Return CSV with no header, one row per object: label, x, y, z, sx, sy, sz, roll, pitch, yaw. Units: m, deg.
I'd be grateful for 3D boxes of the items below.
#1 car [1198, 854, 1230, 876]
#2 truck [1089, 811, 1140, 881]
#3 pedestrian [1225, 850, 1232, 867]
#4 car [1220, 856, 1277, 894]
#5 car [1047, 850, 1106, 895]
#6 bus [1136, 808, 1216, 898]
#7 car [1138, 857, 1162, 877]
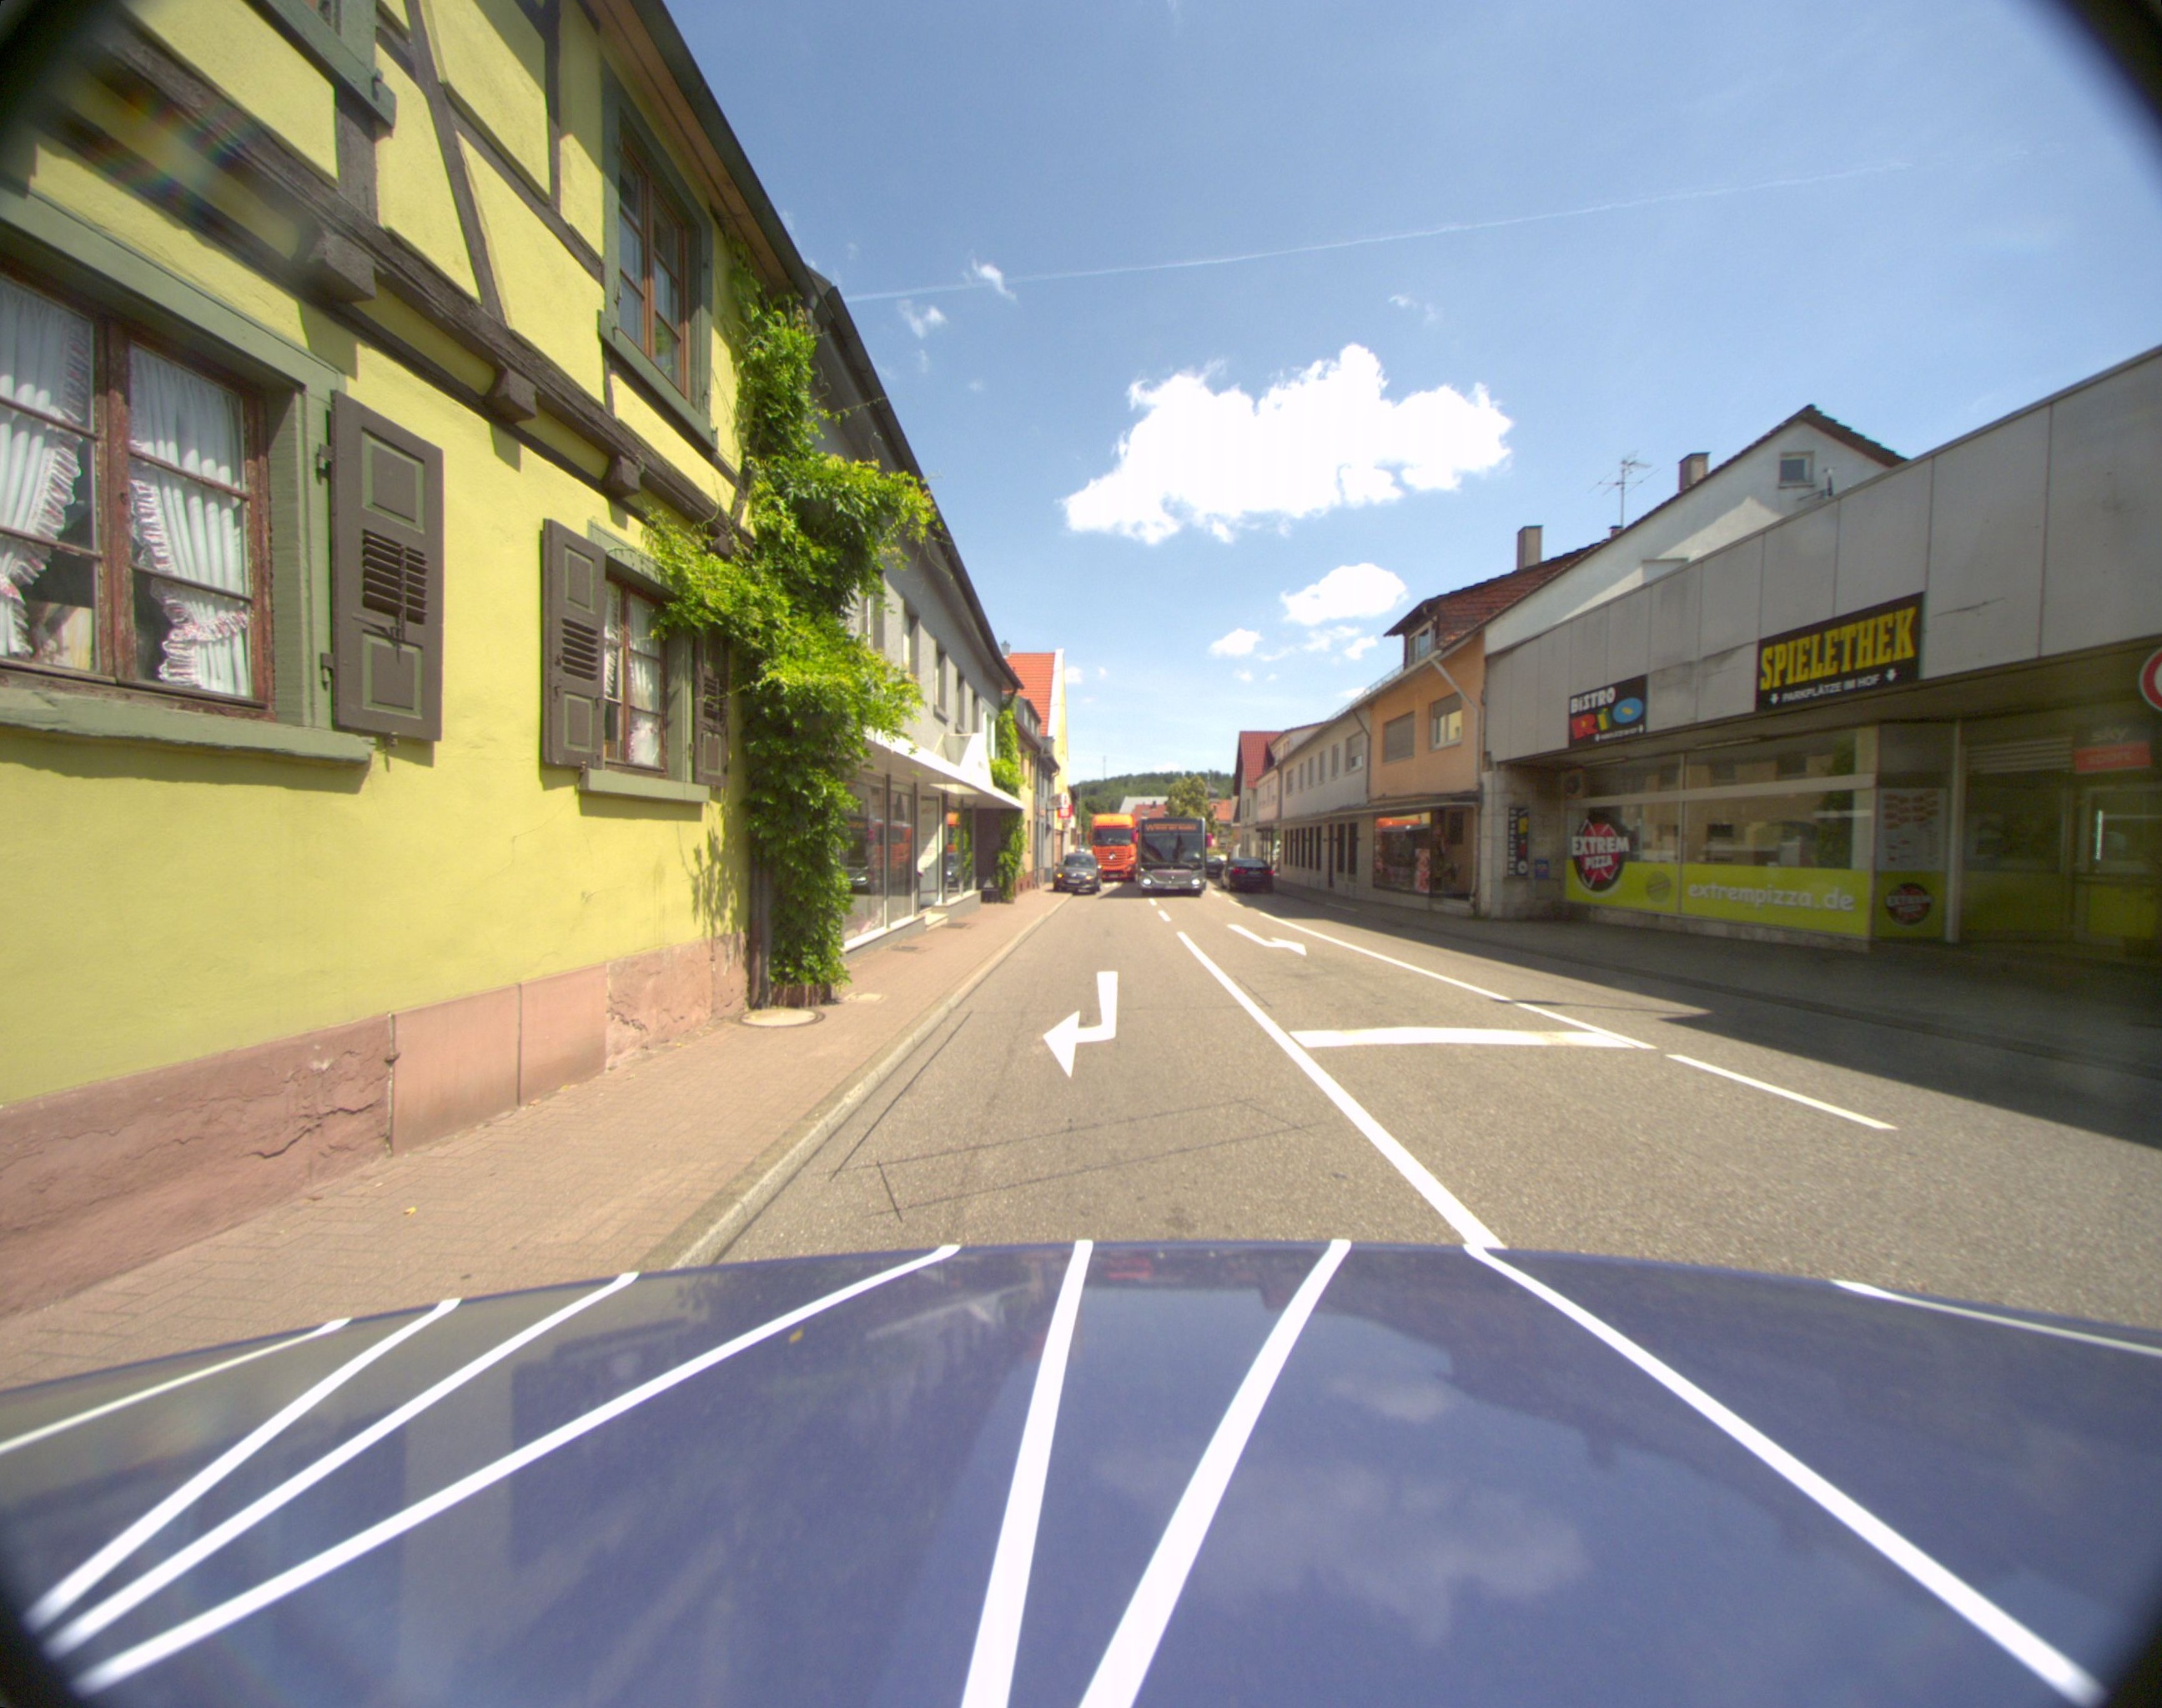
car,9.211,0.758,52.808,1.721,1.414,3.821,2,0,3
truck,2.296,-0.423,48.058,2.614,3.922,9.996,-2,0,5
pedestrian,15.224,0.437,78.483,0.471,1.754,0.478,0,2,-17
car,7.496,0.896,34.445,1.800,1.478,4.798,3,1,4
car,-0.135,0.717,32.455,1.997,1.699,4.102,2,1,6
bus,4.858,-0.022,36.843,2.857,3.186,19.045,-1,0,9
car,5.272,0.989,58.134,1.721,1.400,4.286,3,0,5
